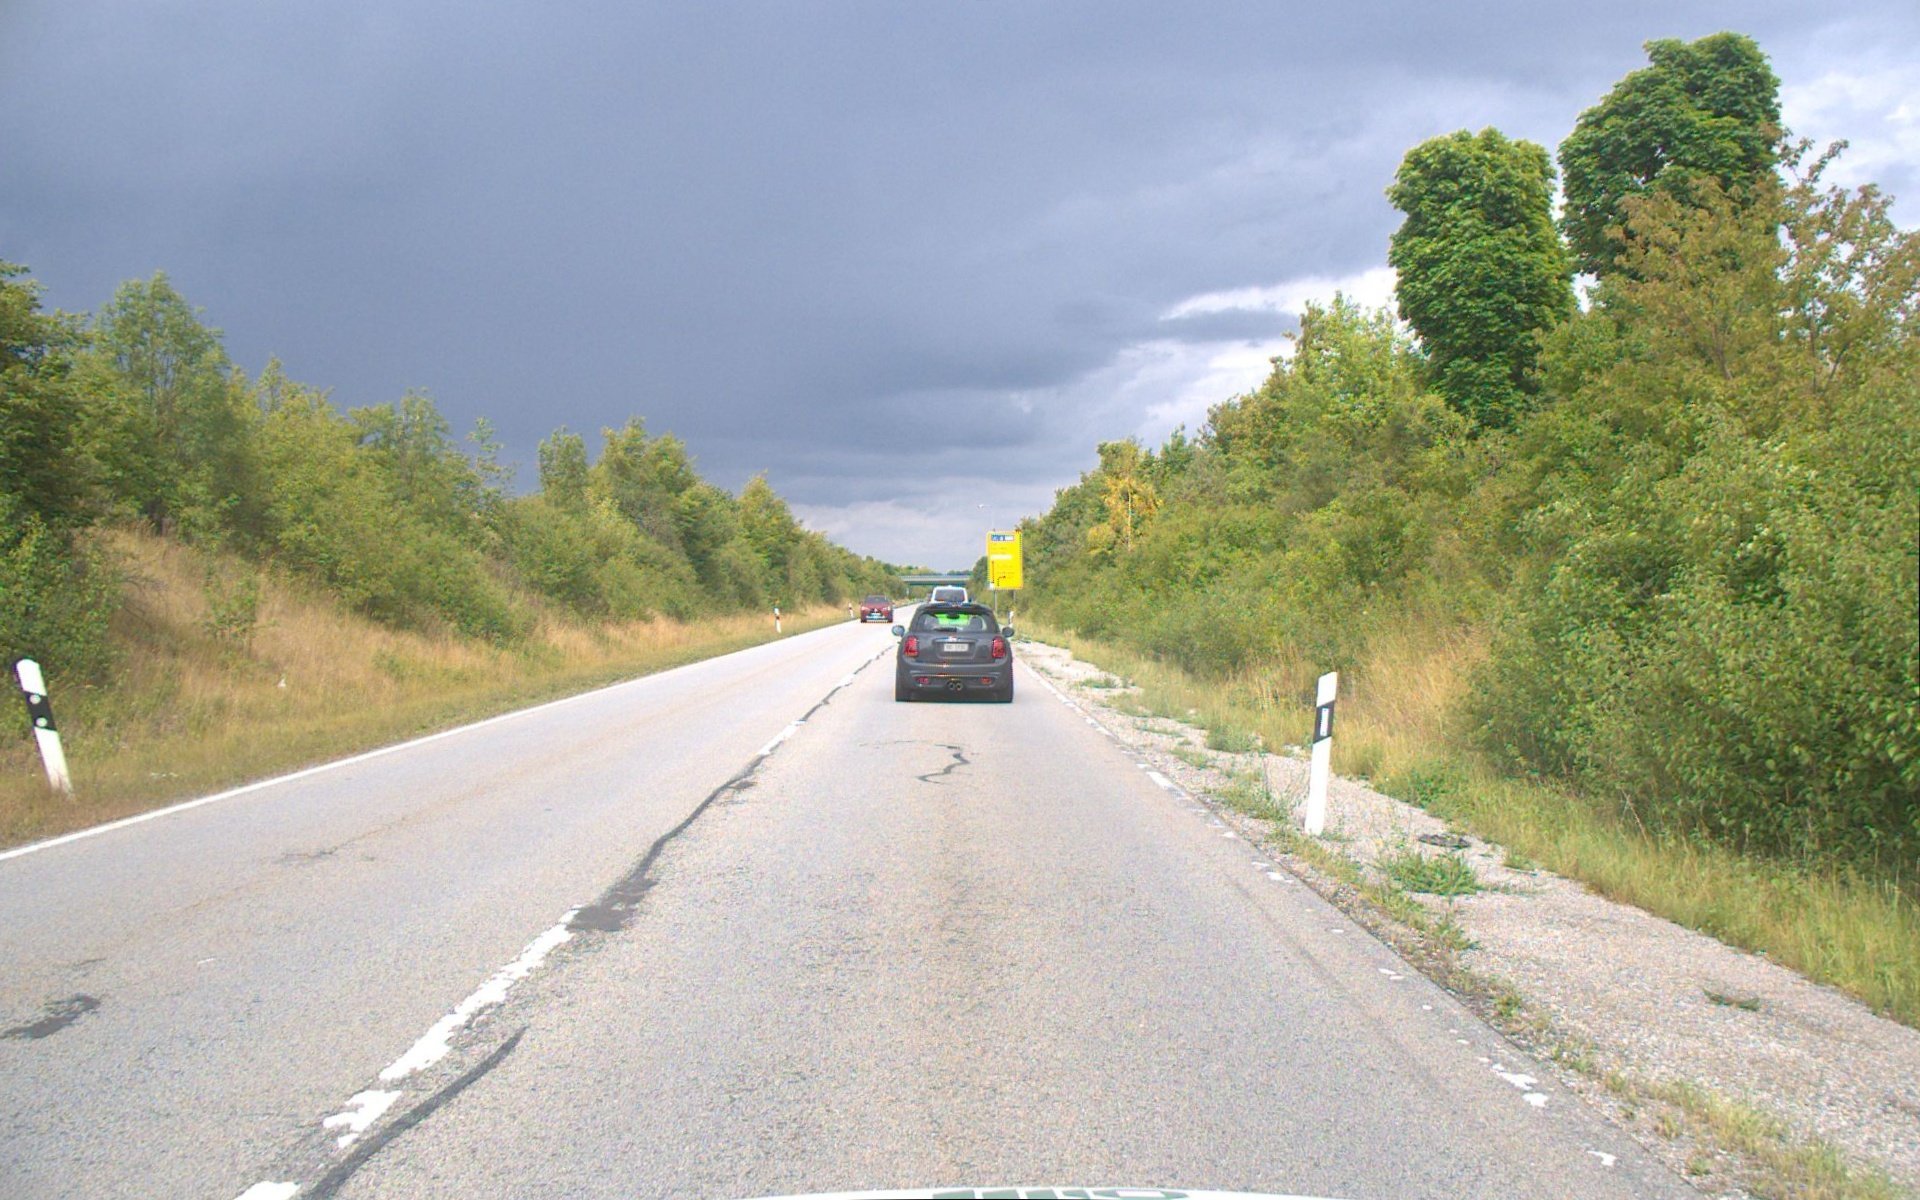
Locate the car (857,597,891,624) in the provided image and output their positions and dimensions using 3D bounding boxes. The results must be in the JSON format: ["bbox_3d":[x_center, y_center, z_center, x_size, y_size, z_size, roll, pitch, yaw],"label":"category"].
[{"bbox_3d":[-4.934,0.574,95.041,1.791,1.490,4.410,0,0,-1],"label":"car"}]

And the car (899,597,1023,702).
[{"bbox_3d":[-0.021,0.701,25.249,1.721,1.452,3.999,1,0,-1],"label":"car"}]

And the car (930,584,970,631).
[{"bbox_3d":[-0.506,0.352,77.161,1.782,2.090,3.999,1,0,-1],"label":"car"}]
